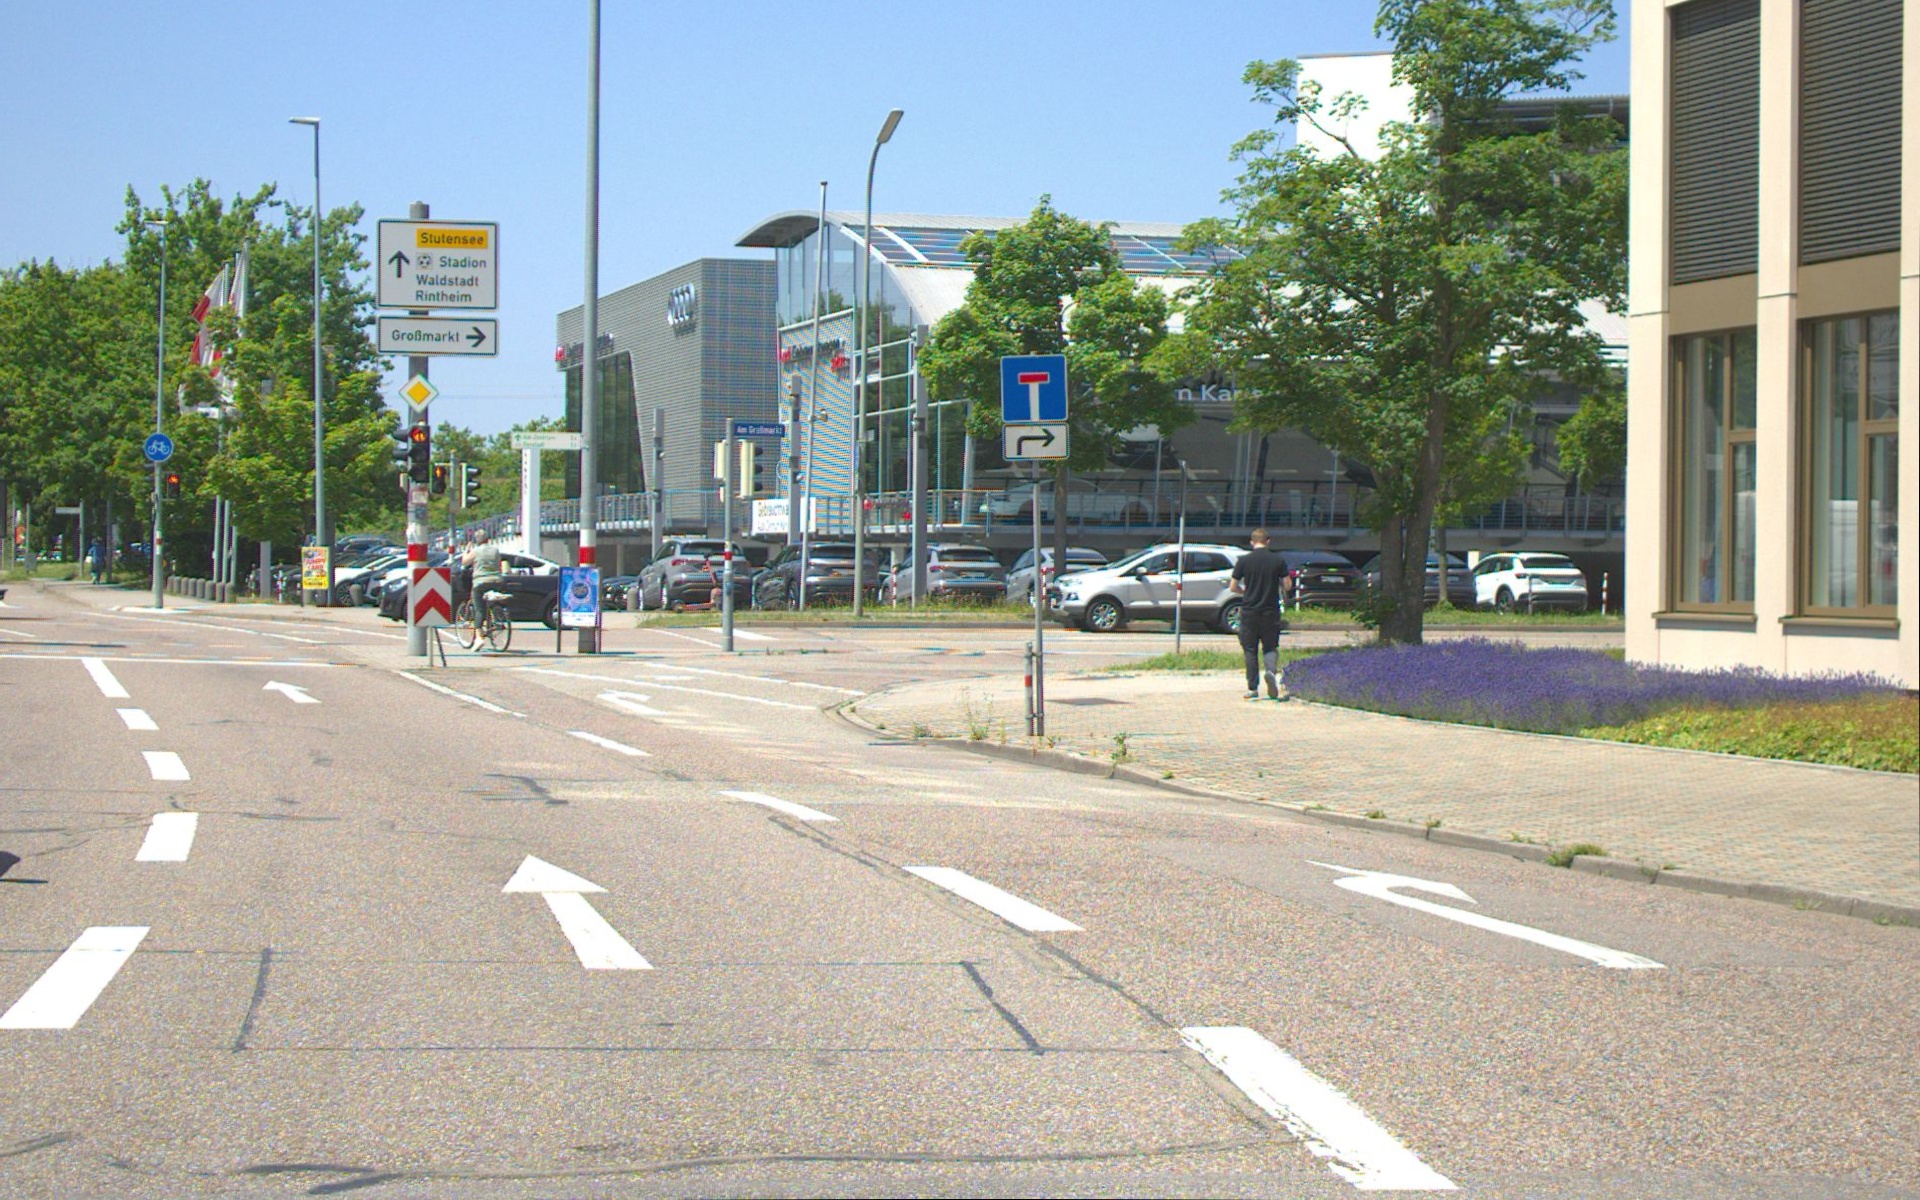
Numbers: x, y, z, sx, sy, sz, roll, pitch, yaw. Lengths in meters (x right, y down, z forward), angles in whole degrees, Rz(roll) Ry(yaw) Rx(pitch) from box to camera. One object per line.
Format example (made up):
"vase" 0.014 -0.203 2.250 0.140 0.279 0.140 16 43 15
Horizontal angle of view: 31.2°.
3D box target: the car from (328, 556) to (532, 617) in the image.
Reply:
"car" -13.227 -0.338 85.740 4.740 1.452 2.001 0 2 -18

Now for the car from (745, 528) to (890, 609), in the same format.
"car" -3.082 -0.698 73.358 1.993 1.634 4.559 0 2 -17

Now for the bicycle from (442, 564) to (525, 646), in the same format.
"bicycle" -6.992 0.066 50.389 0.786 1.123 1.921 1 1 -20

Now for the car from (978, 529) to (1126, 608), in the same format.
"car" 1.964 -0.711 75.010 1.885 1.634 4.526 0 2 -17

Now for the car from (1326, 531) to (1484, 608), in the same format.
"car" 9.934 -0.700 77.087 1.827 1.634 4.476 0 2 -17

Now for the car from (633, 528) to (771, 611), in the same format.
"car" -5.474 -0.664 72.460 1.993 1.634 4.270 0 2 -17

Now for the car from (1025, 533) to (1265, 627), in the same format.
"car" 3.408 -0.374 63.736 4.194 1.646 1.715 1 1 -6

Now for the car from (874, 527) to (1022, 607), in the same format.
"car" -0.302 -0.729 74.205 1.993 1.634 4.443 0 2 -17

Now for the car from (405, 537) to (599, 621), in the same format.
"car" -8.232 -0.379 61.699 3.366 1.353 1.624 2 1 -9

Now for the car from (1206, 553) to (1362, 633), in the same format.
"car" 7.171 -0.176 76.490 1.827 1.634 4.476 1 2 -18

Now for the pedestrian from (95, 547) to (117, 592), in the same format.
"pedestrian" -28.874 -1.031 116.235 0.667 1.505 0.736 0 1 -17

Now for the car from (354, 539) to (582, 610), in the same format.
"car" -10.827 -0.567 75.545 4.740 1.452 2.001 1 1 -14

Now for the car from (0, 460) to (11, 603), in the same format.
"car" -19.906 -1.286 61.197 5.489 2.558 2.000 1 0 -6

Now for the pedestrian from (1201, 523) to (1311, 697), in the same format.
"pedestrian" 3.175 0.097 36.852 0.866 1.838 0.773 -2 1 -44

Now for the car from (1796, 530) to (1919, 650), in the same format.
"car" 15.345 -0.149 52.119 4.899 1.809 1.702 1 1 31

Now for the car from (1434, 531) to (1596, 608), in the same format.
"car" 12.528 -0.716 77.902 1.827 1.634 4.476 0 2 -17

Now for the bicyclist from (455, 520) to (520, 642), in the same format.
"bicyclist" -6.897 -0.282 50.129 0.733 1.743 0.754 2 1 -21
